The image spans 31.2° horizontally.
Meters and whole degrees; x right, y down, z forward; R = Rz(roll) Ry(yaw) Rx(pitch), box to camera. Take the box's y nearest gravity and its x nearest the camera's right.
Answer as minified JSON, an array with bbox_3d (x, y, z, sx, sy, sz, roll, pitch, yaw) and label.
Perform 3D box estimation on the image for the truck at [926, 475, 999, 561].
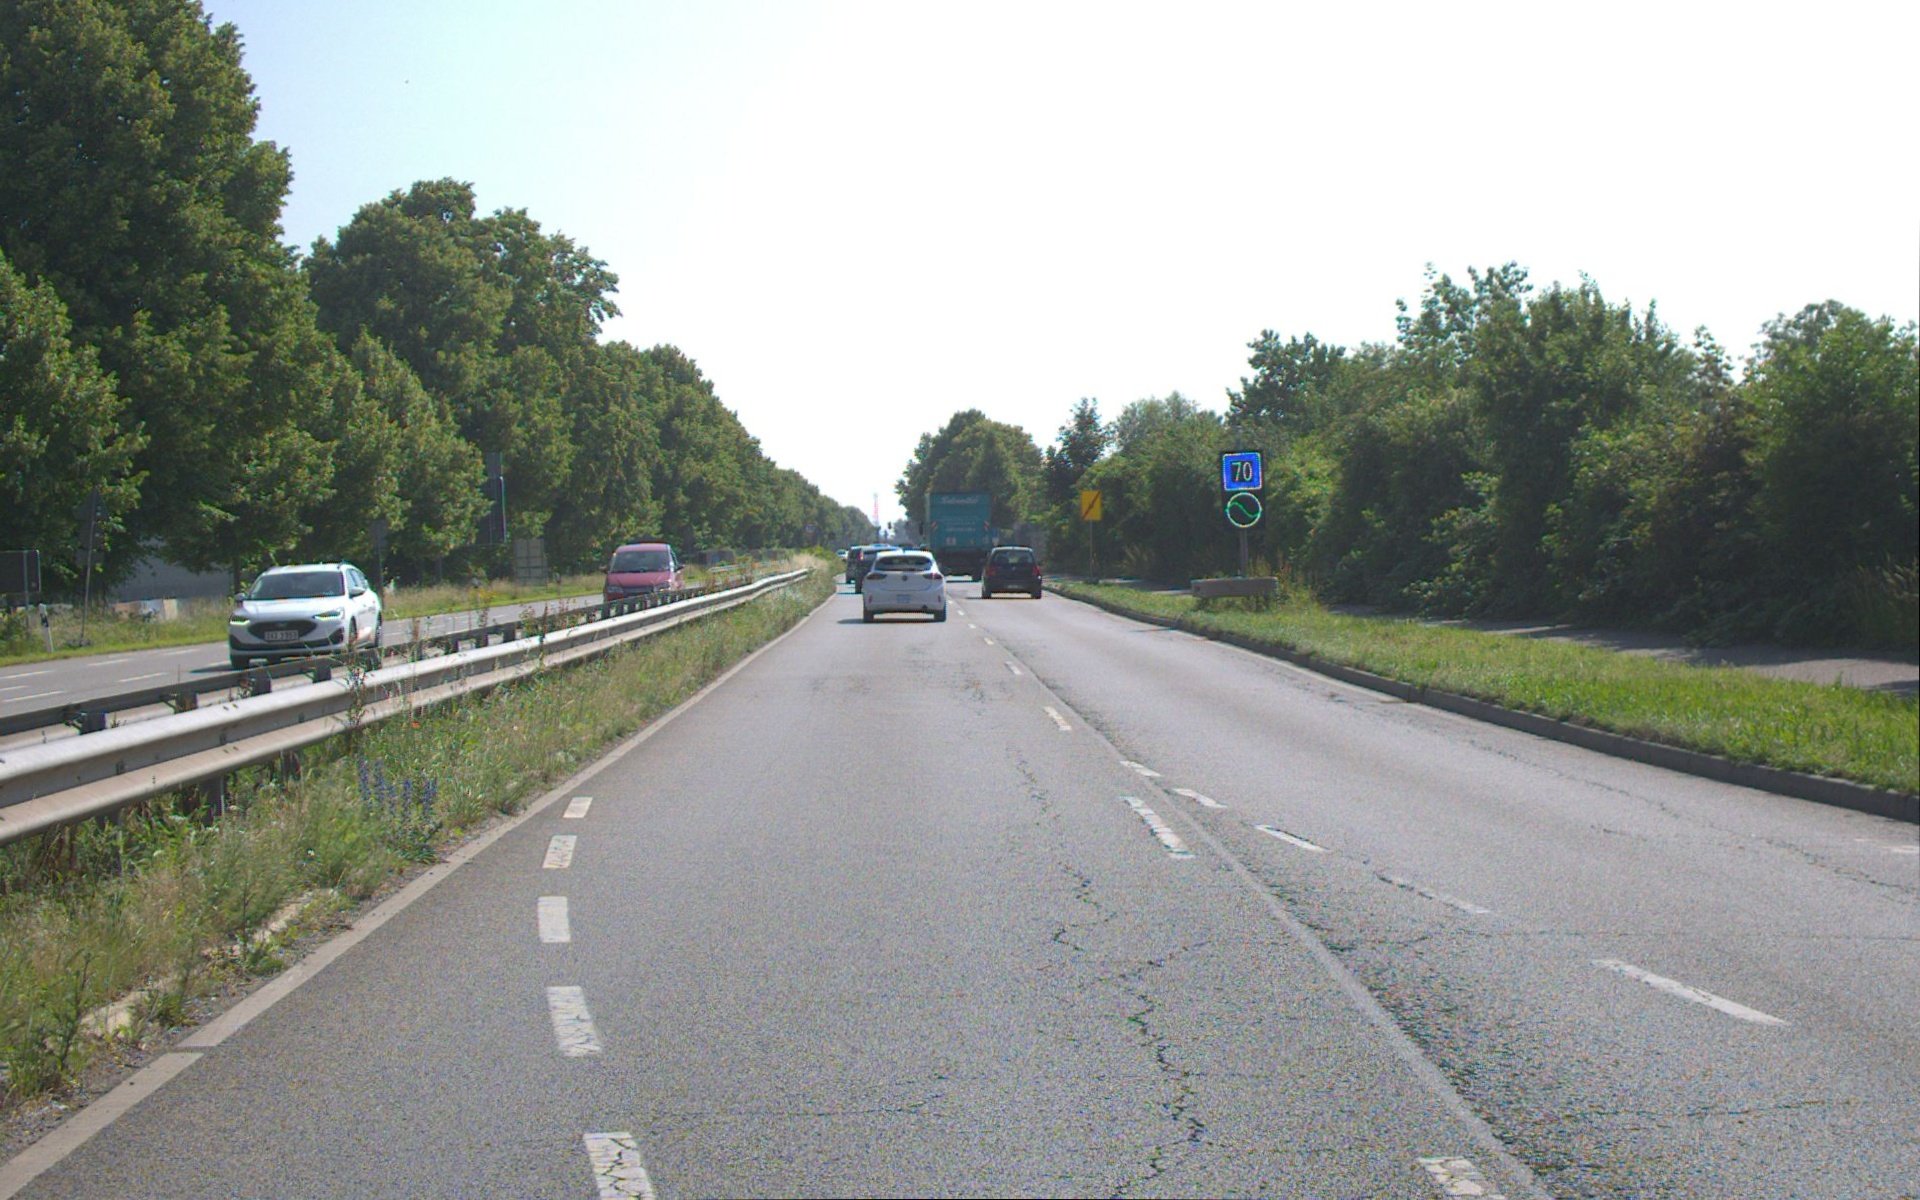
[{"bbox_3d":[0.061,-3.489,146.714,2.891,3.417,9.170,-2,1,0],"label":"truck"}]

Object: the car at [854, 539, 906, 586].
[{"bbox_3d":[-2.572,-1.227,110.710,1.572,1.409,3.278,-2,1,0],"label":"car"}]

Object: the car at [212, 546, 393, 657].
[{"bbox_3d":[-9.832,-0.003,51.692,1.993,1.497,4.091,-2,1,-2],"label":"car"}]

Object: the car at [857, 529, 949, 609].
[{"bbox_3d":[-1.156,-0.655,71.145,1.798,1.547,4.000,-1,2,0],"label":"car"}]

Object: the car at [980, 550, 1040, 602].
[{"bbox_3d":[1.391,-0.667,95.925,1.572,1.410,3.277,-1,0,0],"label":"car"}]

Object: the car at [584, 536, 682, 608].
[{"bbox_3d":[-7.391,-0.664,78.002,1.912,1.497,4.091,-2,1,-2],"label":"car"}]

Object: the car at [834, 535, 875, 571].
[{"bbox_3d":[-4.456,-1.986,145.421,1.572,1.409,3.278,-2,1,0],"label":"car"}]
